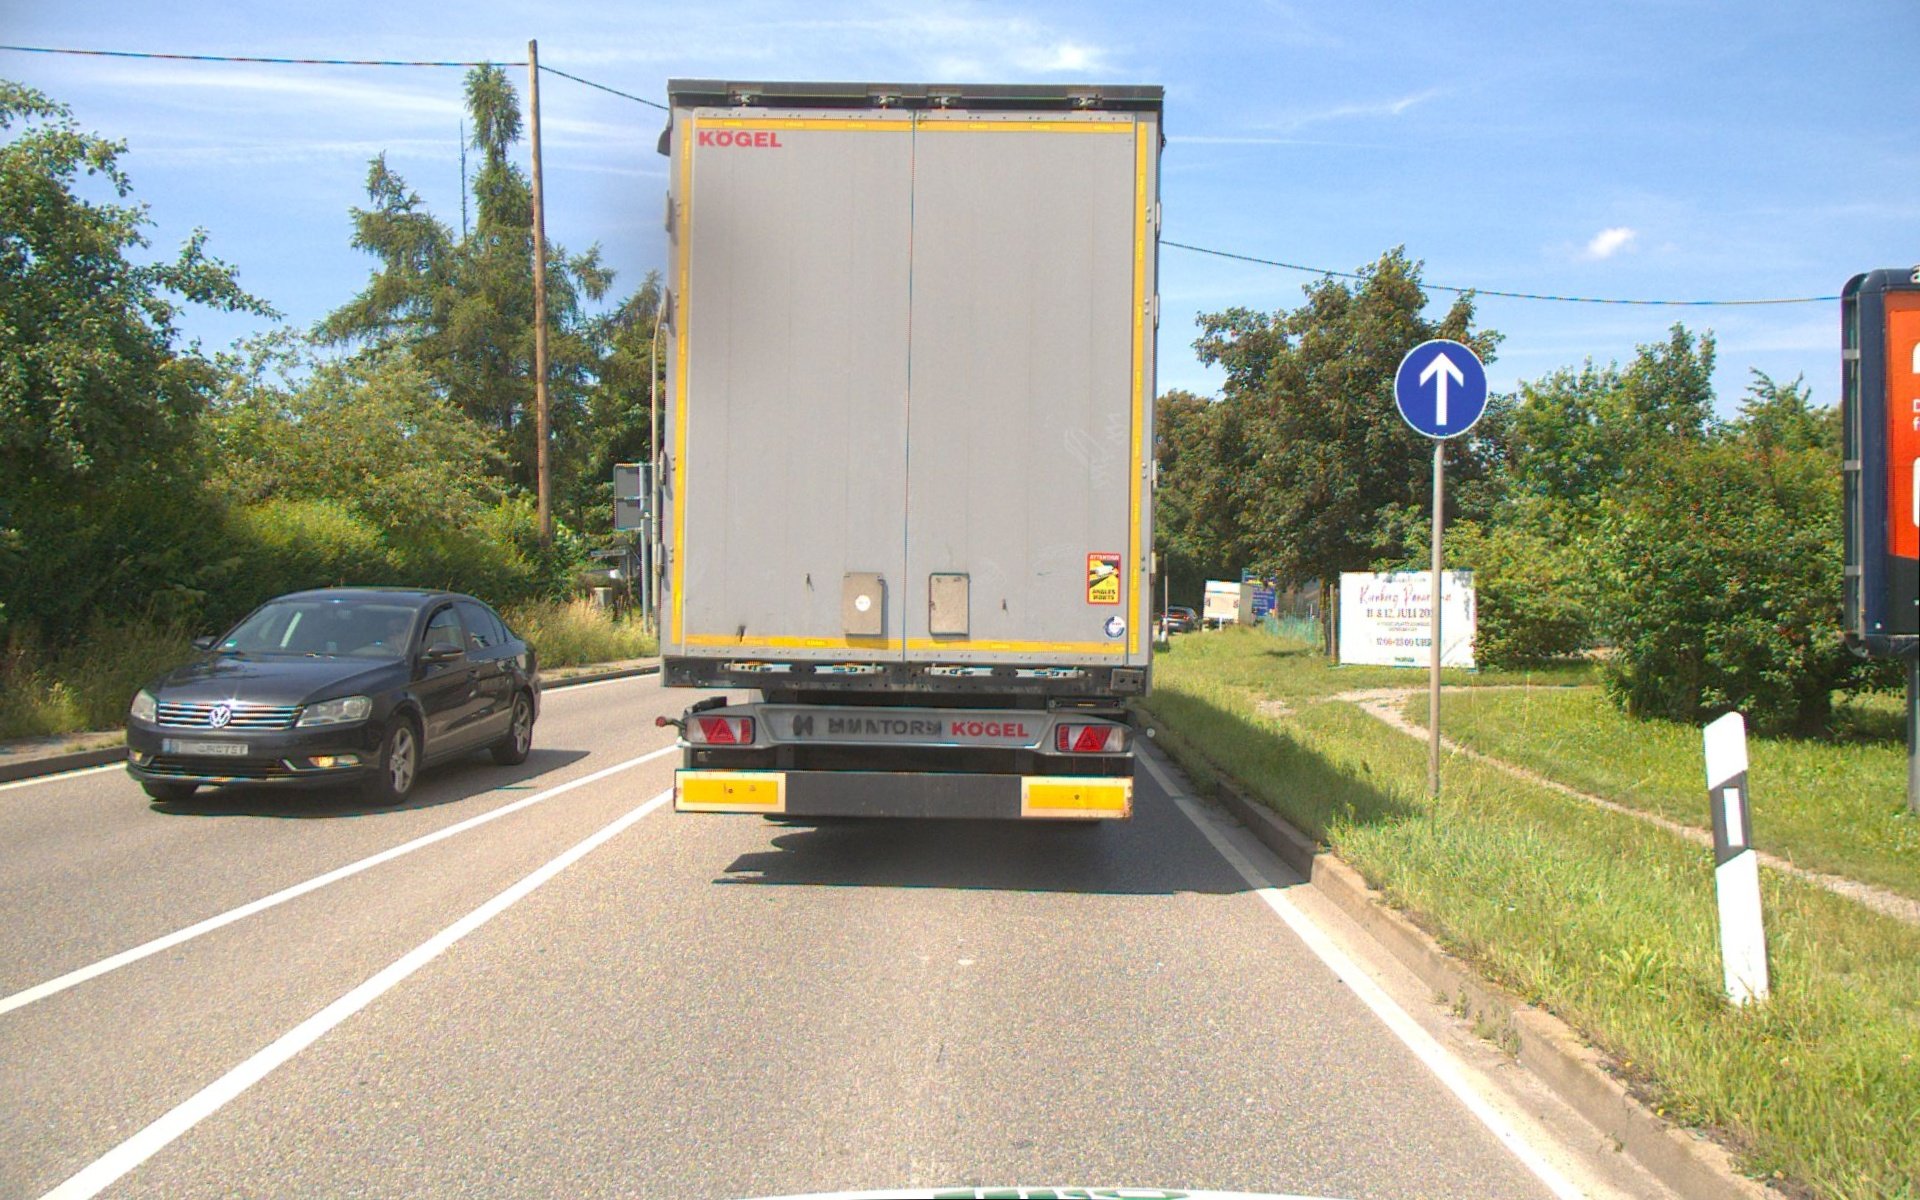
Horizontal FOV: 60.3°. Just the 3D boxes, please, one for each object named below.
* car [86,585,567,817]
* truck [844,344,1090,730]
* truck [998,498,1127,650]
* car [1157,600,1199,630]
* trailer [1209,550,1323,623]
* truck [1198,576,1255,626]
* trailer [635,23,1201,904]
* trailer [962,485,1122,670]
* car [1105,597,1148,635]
[{"bbox_3d":[-4.548,0.613,12.734,1.777,1.442,4.616,0,1,2],"label":"car"},{"bbox_3d":[0.278,-0.744,21.334,2.688,4.238,6.146,1,1,4],"label":"truck"},{"bbox_3d":[3.500,-0.813,54.286,3.853,4.655,7.157,0,0,6],"label":"truck"},{"bbox_3d":[11.621,0.773,88.046,1.802,1.512,4.003,1,1,13],"label":"car"},{"bbox_3d":[21.514,-0.960,115.044,5.072,4.709,15.898,1,1,20],"label":"trailer"},{"bbox_3d":[16.021,0.021,99.214,2.370,2.888,5.413,1,1,20],"label":"truck"},{"bbox_3d":[-0.034,-0.745,14.140,2.729,4.278,12.114,1,1,2],"label":"trailer"},{"bbox_3d":[2.662,-0.654,47.814,3.808,4.599,12.723,0,1,6],"label":"trailer"},{"bbox_3d":[8.806,0.809,87.143,1.951,1.870,4.004,1,1,10],"label":"car"}]
